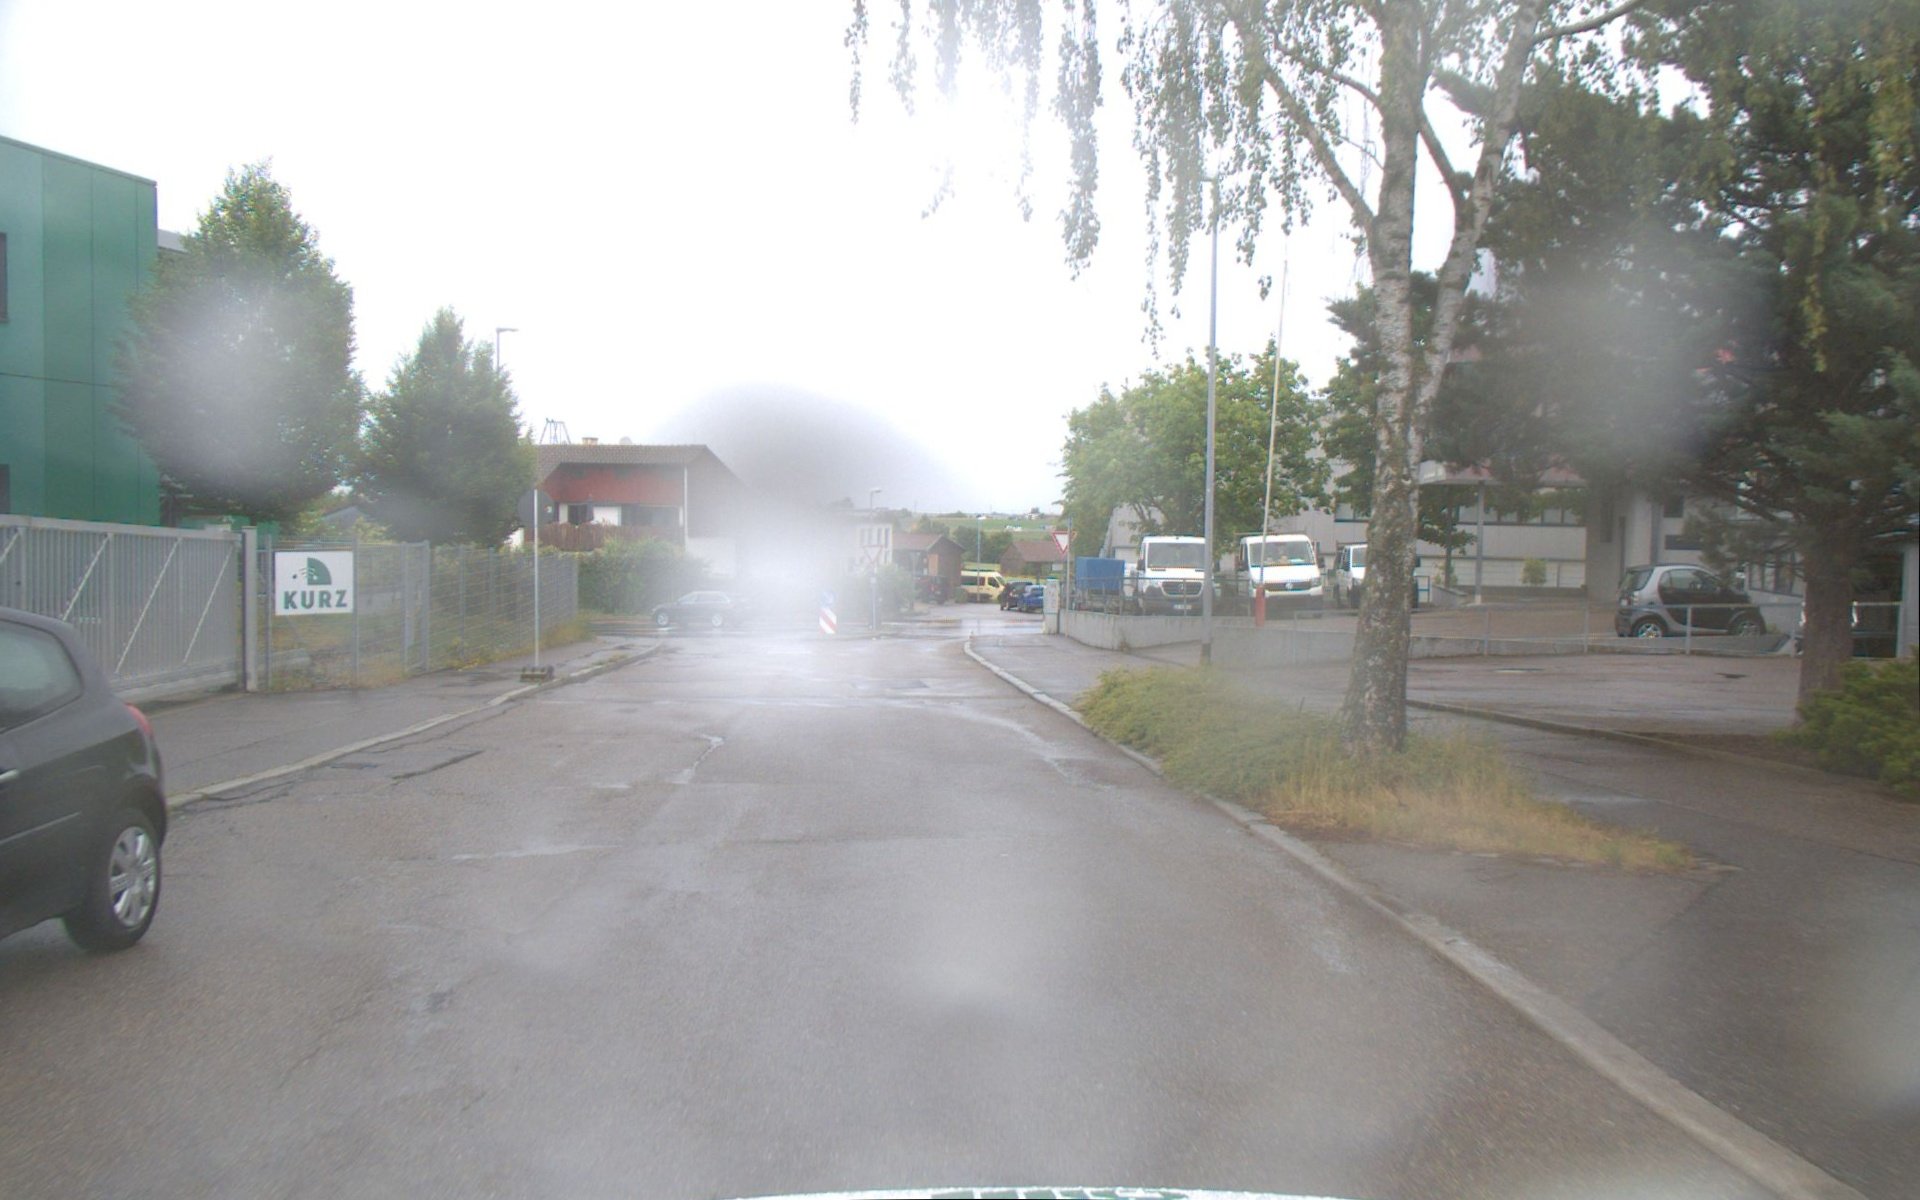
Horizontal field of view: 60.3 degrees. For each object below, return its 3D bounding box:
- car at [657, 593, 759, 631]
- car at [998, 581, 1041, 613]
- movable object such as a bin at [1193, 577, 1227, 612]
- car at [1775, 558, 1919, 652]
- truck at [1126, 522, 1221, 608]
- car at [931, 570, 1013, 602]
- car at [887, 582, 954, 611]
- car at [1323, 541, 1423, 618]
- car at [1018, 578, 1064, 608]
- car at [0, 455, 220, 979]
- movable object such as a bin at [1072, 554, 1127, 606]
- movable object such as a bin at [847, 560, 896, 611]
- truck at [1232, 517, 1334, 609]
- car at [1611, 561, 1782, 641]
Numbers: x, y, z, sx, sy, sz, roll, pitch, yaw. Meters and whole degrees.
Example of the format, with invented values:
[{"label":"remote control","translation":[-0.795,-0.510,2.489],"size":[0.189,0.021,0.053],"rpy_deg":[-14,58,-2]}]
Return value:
[{"label":"car","translation":[-10.619,0.502,69.747],"size":[3.902,1.561,1.762],"rpy_deg":[0,0,14]},{"label":"car","translation":[3.524,-0.175,99.229],"size":[2.033,1.867,4.466],"rpy_deg":[0,0,-5]},{"label":"movable object such as a bin","translation":[7.787,-0.174,51.463],"size":[1.027,1.061,0.885],"rpy_deg":[0,0,9]},{"label":"car","translation":[15.458,0.081,27.586],"size":[2.970,1.521,1.631],"rpy_deg":[0,0,7]},{"label":"truck","translation":[5.940,-0.927,46.702],"size":[2.062,2.253,5.654],"rpy_deg":[0,0,1]},{"label":"car","translation":[0.943,-1.075,128.447],"size":[5.884,2.457,2.464],"rpy_deg":[0,0,20]},{"label":"car","translation":[-2.646,-0.249,110.848],"size":[4.331,1.938,1.988],"rpy_deg":[0,0,42]},{"label":"car","translation":[11.640,-0.543,46.935],"size":[2.013,2.049,4.941],"rpy_deg":[0,0,5]},{"label":"car","translation":[4.506,-0.405,93.023],"size":[1.914,1.638,4.441],"rpy_deg":[0,0,-6]},{"label":"car","translation":[-4.197,0.403,5.529],"size":[1.704,1.829,3.958],"rpy_deg":[0,0,-1]},{"label":"movable object such as a bin","translation":[4.134,-0.589,49.257],"size":[1.282,1.527,1.856],"rpy_deg":[0,0,-7]},{"label":"movable object such as a bin","translation":[-4.653,-0.758,87.399],"size":[1.696,2.601,3.342],"rpy_deg":[0,0,13]},{"label":"truck","translation":[8.926,-0.974,46.105],"size":[2.195,2.383,4.839],"rpy_deg":[-1,0,4]},{"label":"car","translation":[14.078,0.019,31.745],"size":[2.654,1.472,1.679],"rpy_deg":[0,0,9]}]
